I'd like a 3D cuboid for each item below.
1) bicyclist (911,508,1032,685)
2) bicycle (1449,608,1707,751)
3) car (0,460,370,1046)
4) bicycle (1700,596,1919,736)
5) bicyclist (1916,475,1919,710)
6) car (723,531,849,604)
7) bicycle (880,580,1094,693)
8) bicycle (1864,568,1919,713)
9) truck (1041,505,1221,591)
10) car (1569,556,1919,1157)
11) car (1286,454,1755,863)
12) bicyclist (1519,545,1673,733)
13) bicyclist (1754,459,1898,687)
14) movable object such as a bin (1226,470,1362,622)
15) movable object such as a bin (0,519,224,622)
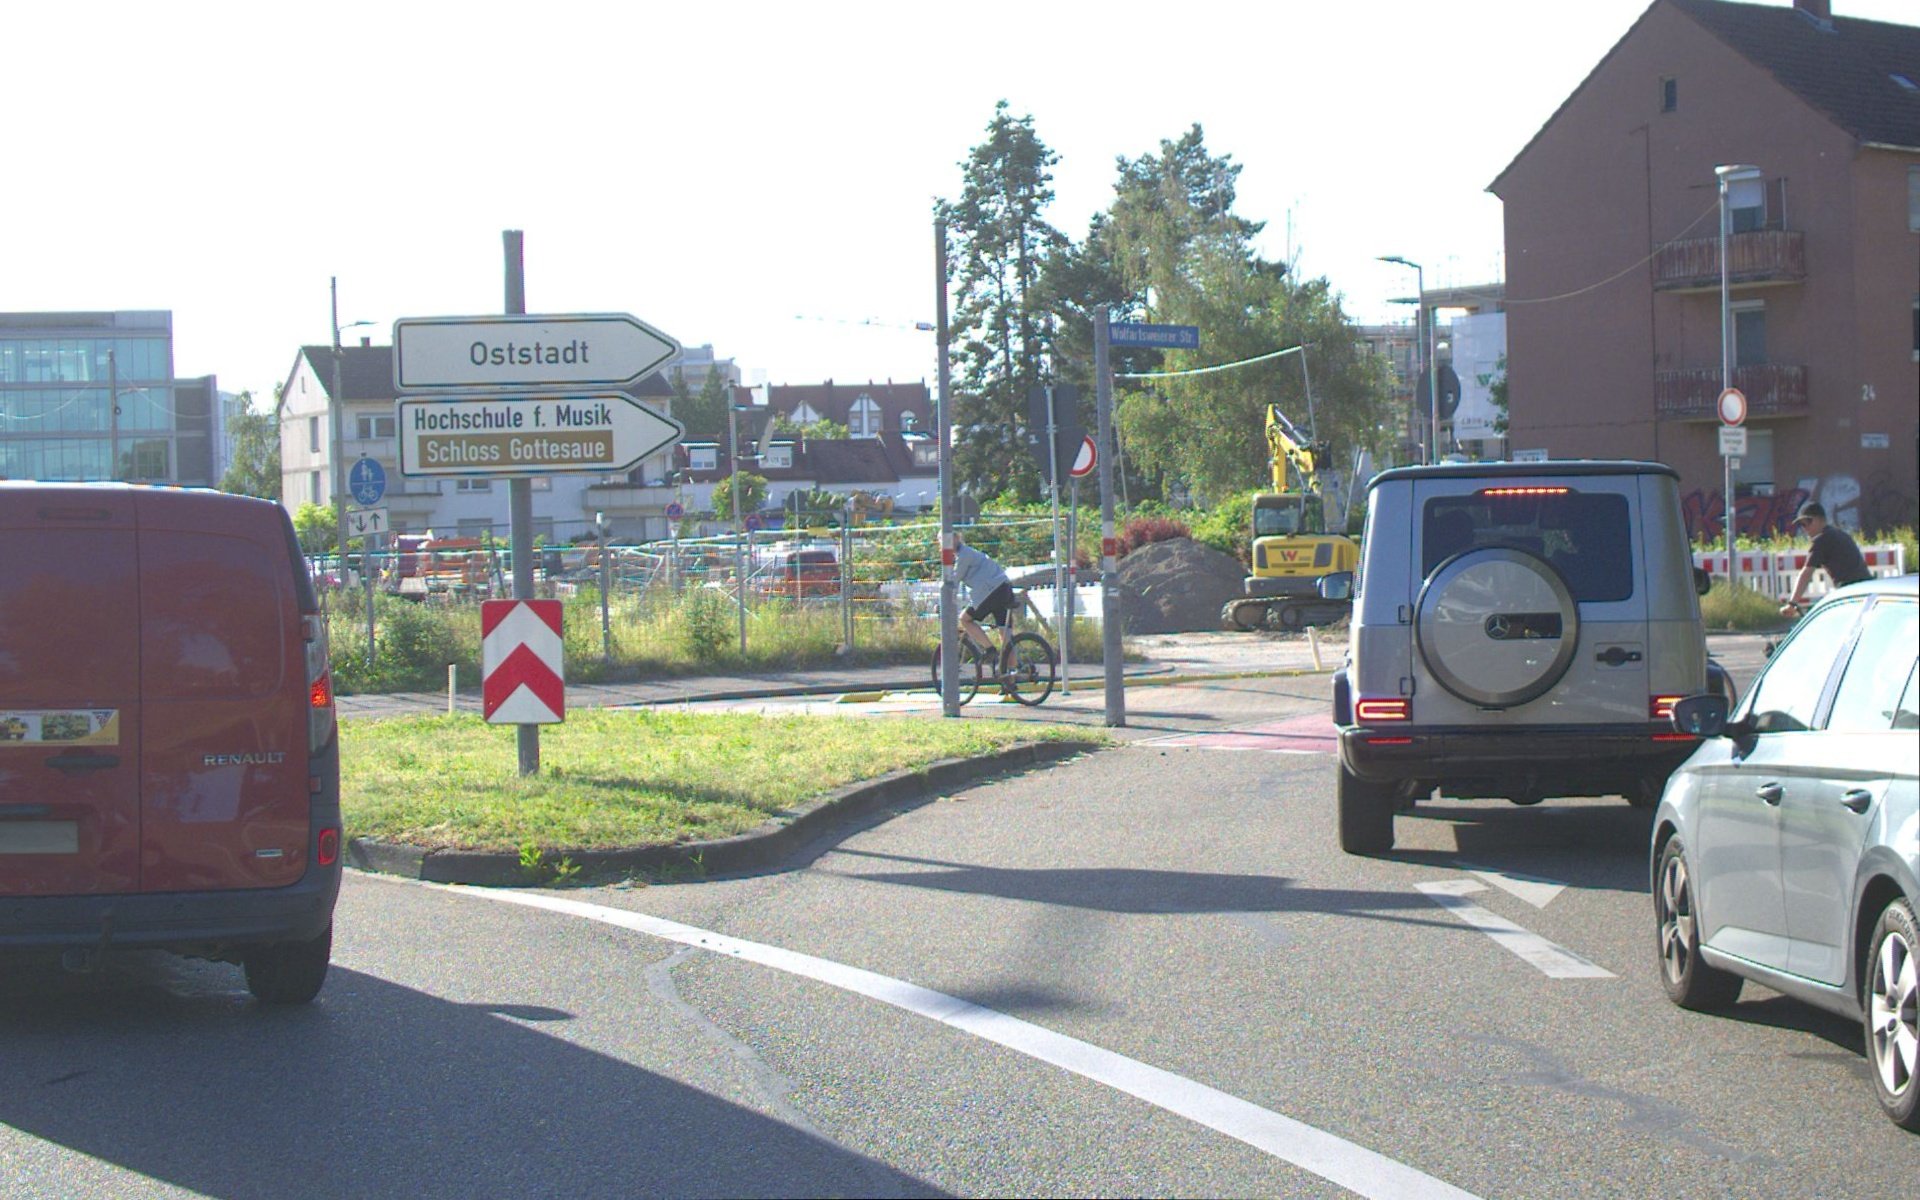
[{"bbox_3d":[0.113,-0.046,33.744,0.853,1.674,0.741,0,4,36],"label":"bicyclist"},{"bbox_3d":[4.648,0.582,25.917,1.822,1.024,0.659,1,1,39],"label":"bicycle"},{"bbox_3d":[-3.488,0.453,12.459,1.802,1.807,3.810,-1,1,-23],"label":"car"},{"bbox_3d":[6.669,0.495,26.595,0.658,1.024,1.823,0,1,-40],"label":"bicycle"},{"bbox_3d":[7.282,-0.048,24.092,0.658,1.659,0.899,0,1,-35],"label":"bicyclist"},{"bbox_3d":[-4.991,-0.942,98.014,1.993,2.007,4.500,0,1,-26],"label":"car"},{"bbox_3d":[0.256,0.342,33.686,2.008,1.024,0.741,0,4,36],"label":"bicycle"},{"bbox_3d":[7.283,0.290,24.106,0.658,1.024,1.823,0,1,-35],"label":"bicycle"},{"bbox_3d":[4.125,-1.286,84.406,2.163,2.007,6.438,0,1,-19],"label":"truck"},{"bbox_3d":[3.085,0.597,9.869,1.714,1.431,4.152,-1,1,-3],"label":"car"},{"bbox_3d":[2.840,0.239,18.432,1.997,1.890,4.752,-1,1,4],"label":"car"},{"bbox_3d":[4.774,0.282,25.810,0.934,1.380,0.659,1,1,39],"label":"bicyclist"},{"bbox_3d":[6.681,-0.205,26.538,0.652,1.724,0.812,-1,0,-40],"label":"bicyclist"},{"bbox_3d":[6.269,-1.019,64.933,2.419,2.764,4.000,1,1,4],"label":"movable object such as a bin"},{"bbox_3d":[-25.395,-0.852,98.934,7.904,2.773,2.944,-2,1,-19],"label":"movable object such as a bin"}]
